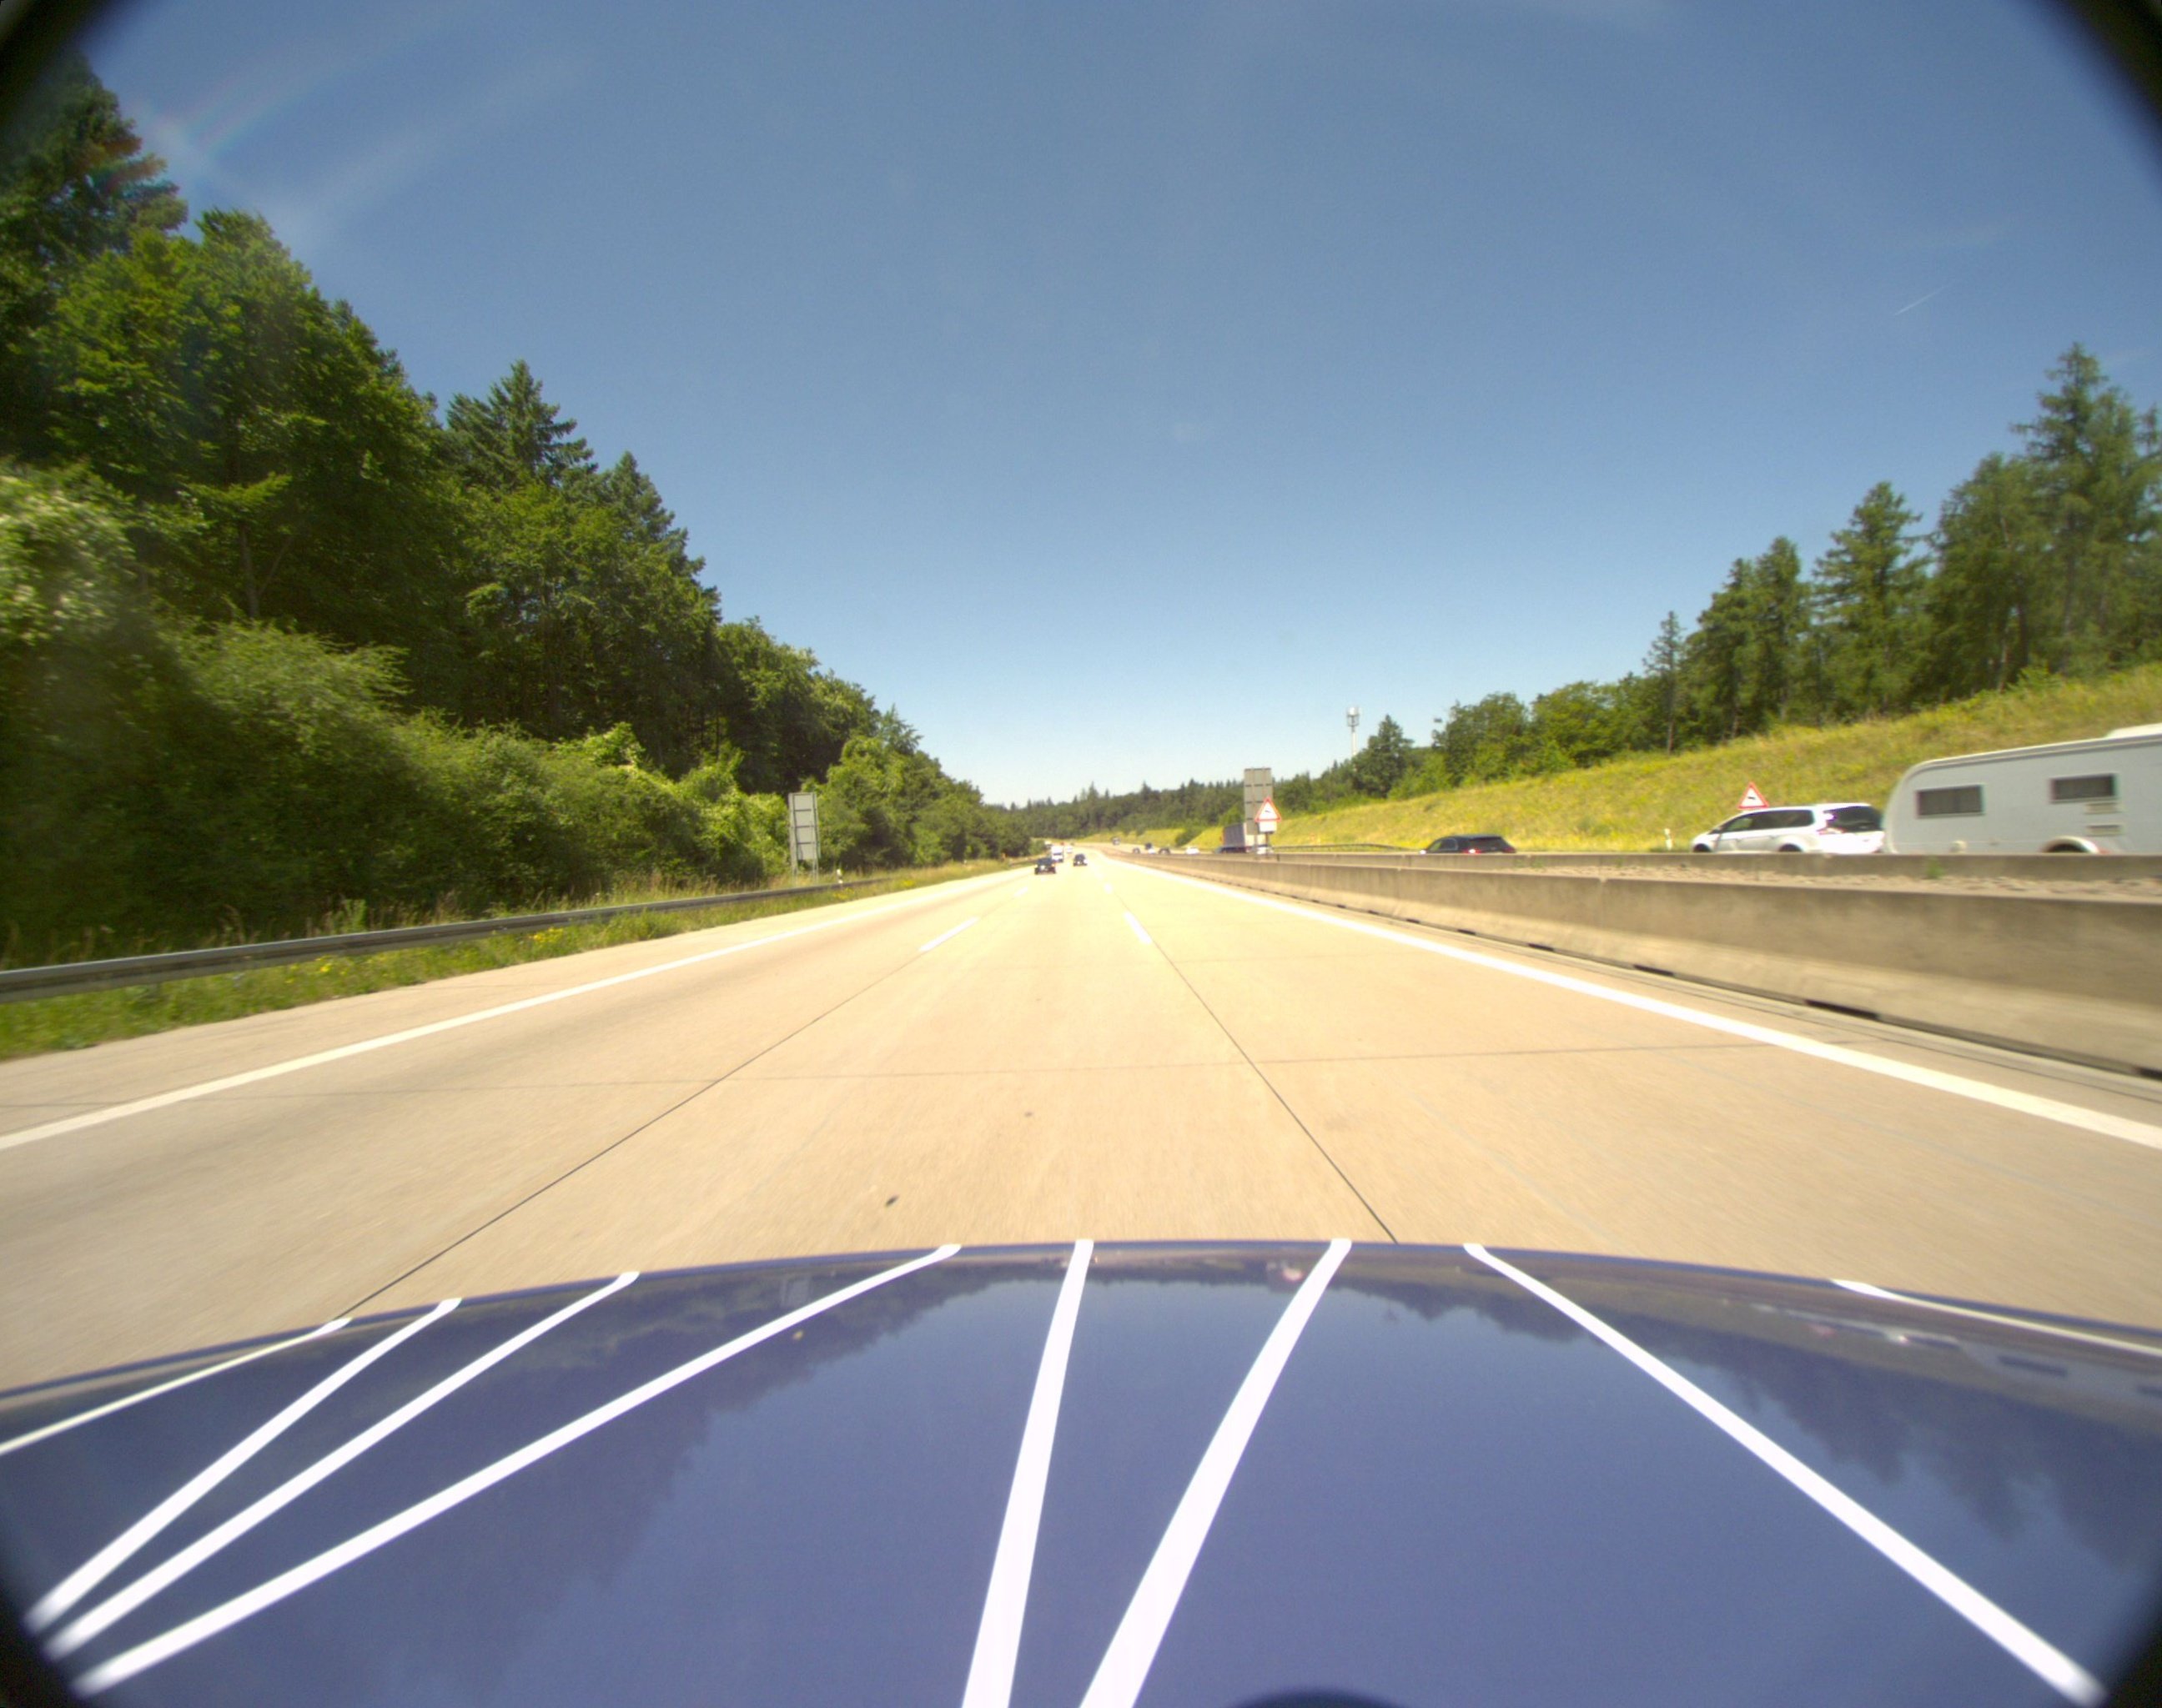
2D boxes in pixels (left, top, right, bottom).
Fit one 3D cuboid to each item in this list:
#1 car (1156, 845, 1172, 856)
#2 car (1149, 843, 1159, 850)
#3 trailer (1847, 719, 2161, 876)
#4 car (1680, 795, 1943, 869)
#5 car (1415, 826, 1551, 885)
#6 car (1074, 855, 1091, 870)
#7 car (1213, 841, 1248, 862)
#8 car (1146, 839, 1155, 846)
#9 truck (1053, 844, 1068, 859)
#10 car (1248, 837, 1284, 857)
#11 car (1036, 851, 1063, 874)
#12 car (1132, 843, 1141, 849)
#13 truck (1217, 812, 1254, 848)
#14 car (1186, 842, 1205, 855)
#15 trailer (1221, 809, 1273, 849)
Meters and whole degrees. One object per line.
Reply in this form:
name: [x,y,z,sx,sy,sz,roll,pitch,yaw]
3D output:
car: [13.279,-0.594,121.410,1.998,1.682,4.371,-4,1,1]
car: [18.356,-1.933,191.511,1.998,1.555,4.000,-4,1,0]
trailer: [19.362,-1.027,14.013,2.612,2.616,7.780,-3,1,1]
car: [19.445,-0.541,20.710,1.998,1.650,5.373,-3,1,1]
car: [12.092,0.025,23.170,1.998,1.510,4.000,-3,1,1]
car: [0.171,1.077,99.493,1.998,1.694,4.399,-5,1,2]
car: [12.707,-0.217,64.820,1.998,1.549,4.498,-4,0,1]
car: [23.180,-3.918,252.958,2.487,2.197,6.458,-4,0,1]
truck: [-4.201,-0.505,155.014,2.483,2.780,5.914,-5,1,2]
car: [15.919,-0.570,65.616,1.998,1.549,4.498,-4,0,1]
car: [-2.693,0.682,65.853,1.931,1.694,4.399,-5,1,2]
car: [14.923,-2.121,203.699,1.998,1.529,4.195,-4,1,0]
truck: [20.914,-3.236,103.392,3.395,4.406,6.799,-4,1,1]
car: [16.897,-0.839,112.240,1.998,1.682,4.815,-4,1,1]
trailer: [20.863,-3.104,96.598,3.395,4.406,13.921,-4,1,1]
